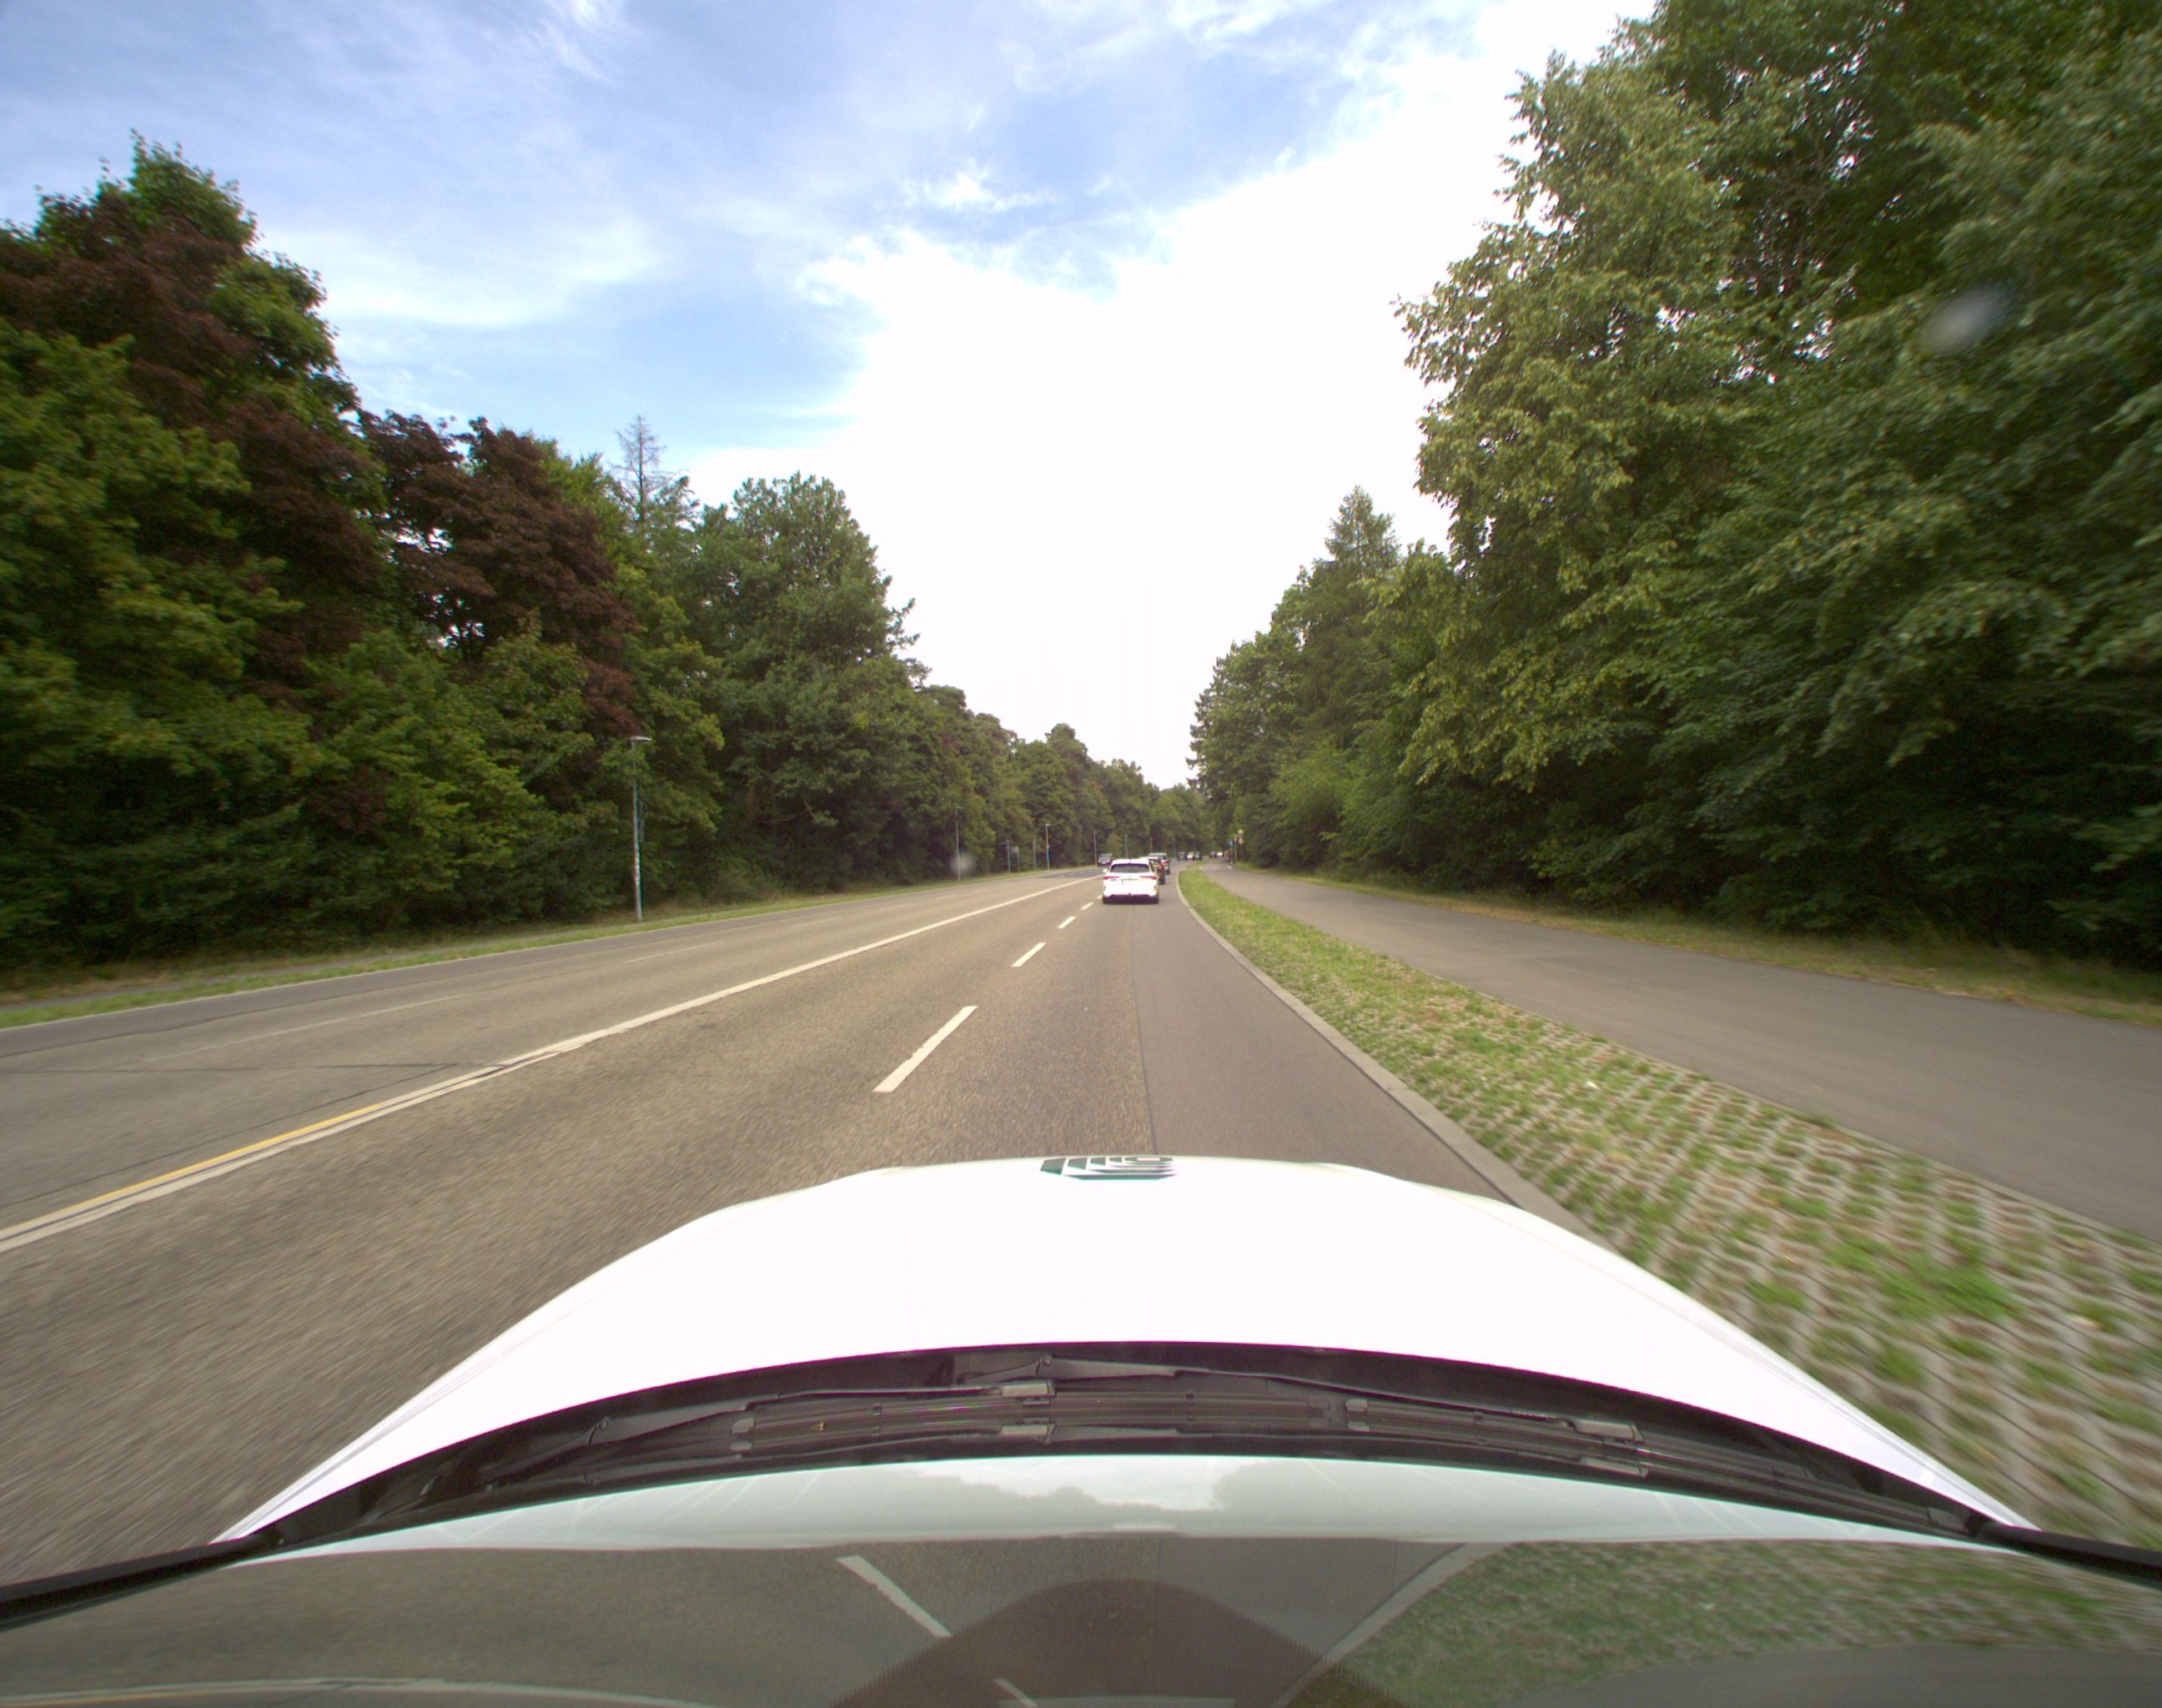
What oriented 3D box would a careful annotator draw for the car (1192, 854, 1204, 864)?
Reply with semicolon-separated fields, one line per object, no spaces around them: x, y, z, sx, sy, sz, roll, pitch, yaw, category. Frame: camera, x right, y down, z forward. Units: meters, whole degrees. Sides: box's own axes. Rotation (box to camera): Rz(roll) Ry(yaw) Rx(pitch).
22.746;0.987;158.166;1.979;1.783;4.014;0;-1;13;car

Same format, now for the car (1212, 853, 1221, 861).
33.849;0.726;203.251;1.979;1.783;4.015;0;-1;14;car

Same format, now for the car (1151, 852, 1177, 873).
6.664;0.721;65.217;1.984;1.607;4.006;1;-1;5;car

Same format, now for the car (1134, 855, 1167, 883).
3.777;0.792;43.625;1.627;1.420;4.007;1;-1;7;car

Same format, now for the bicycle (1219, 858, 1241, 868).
15.643;0.911;85.497;2.174;0.994;0.709;-1;-1;-10;bicycle

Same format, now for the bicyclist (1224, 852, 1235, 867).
15.627;0.582;85.490;0.898;1.470;0.709;-1;-1;-10;bicyclist

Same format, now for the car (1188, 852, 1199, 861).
25.035;0.538;181.240;1.978;1.783;4.016;0;-1;16;car

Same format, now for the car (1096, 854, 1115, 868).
3.259;0.931;106.951;1.983;1.791;4.757;1;-1;7;car

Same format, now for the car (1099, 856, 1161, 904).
1.695;0.813;26.892;1.827;1.410;4.497;-1;-1;5;car

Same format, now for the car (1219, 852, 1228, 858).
40.849;0.315;233.606;1.978;1.706;4.018;-1;0;18;car

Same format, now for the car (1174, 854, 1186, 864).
19.937;1.018;163.831;1.981;1.783;4.012;1;-1;11;car
